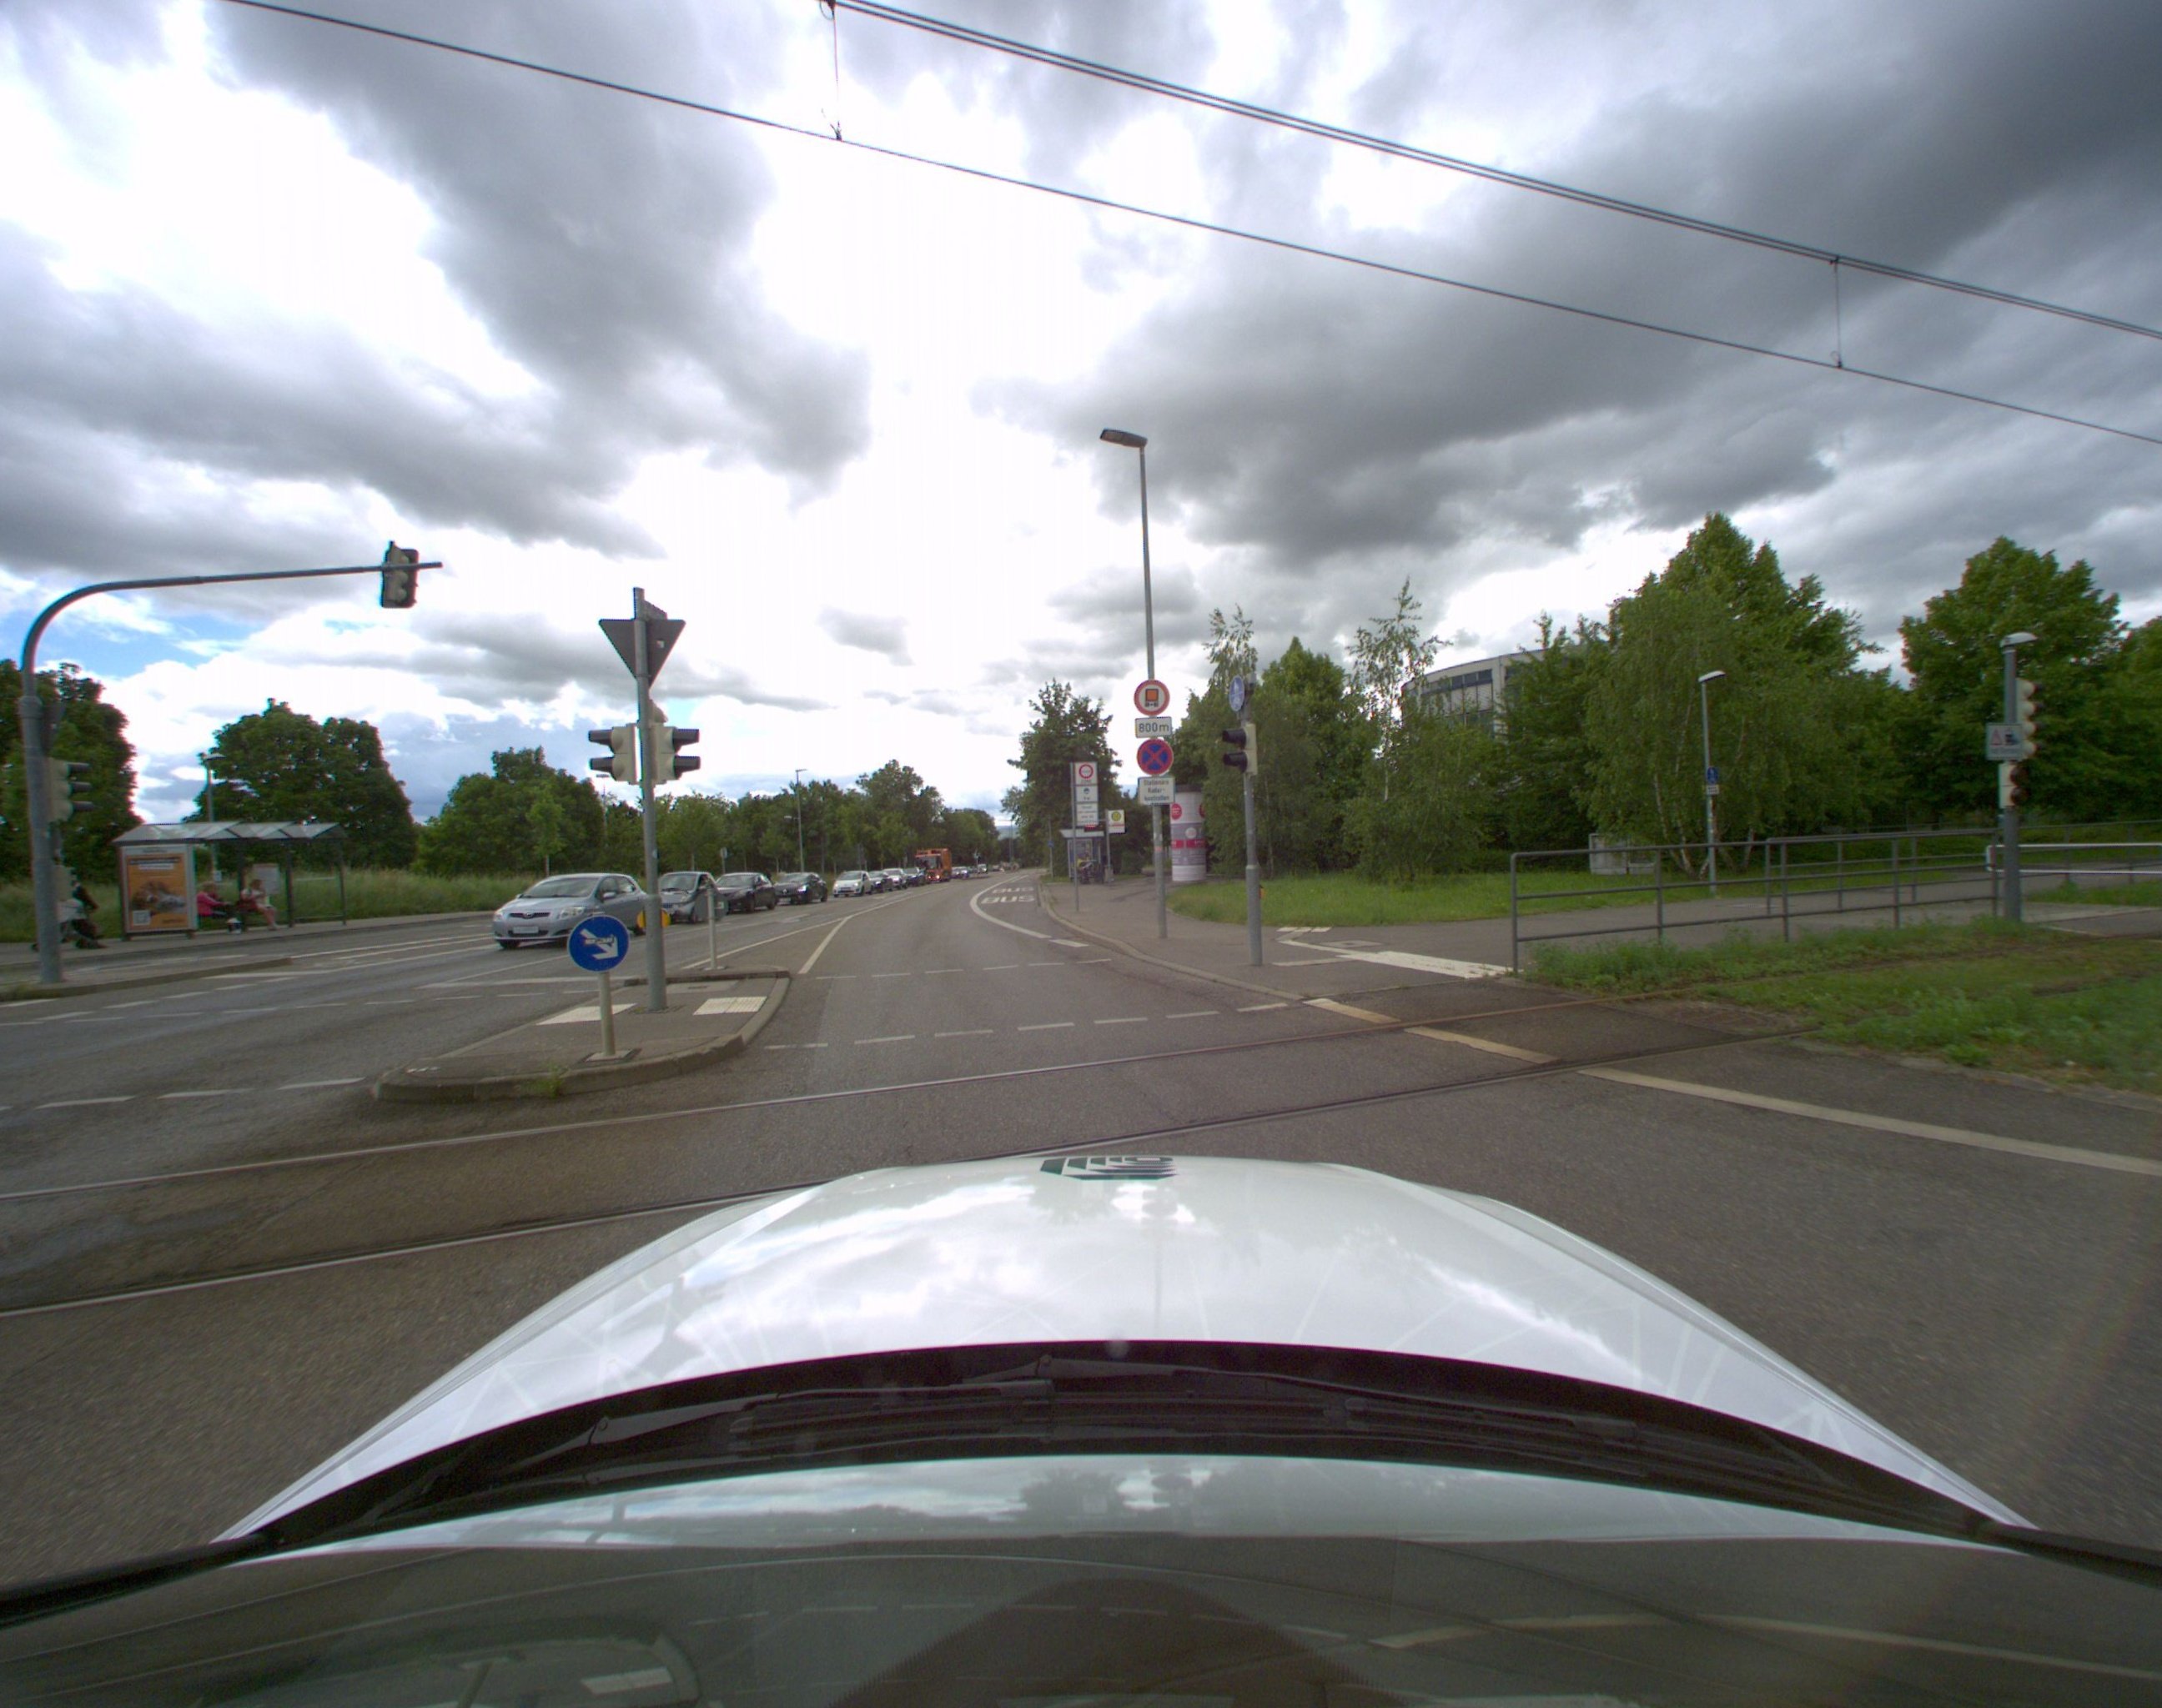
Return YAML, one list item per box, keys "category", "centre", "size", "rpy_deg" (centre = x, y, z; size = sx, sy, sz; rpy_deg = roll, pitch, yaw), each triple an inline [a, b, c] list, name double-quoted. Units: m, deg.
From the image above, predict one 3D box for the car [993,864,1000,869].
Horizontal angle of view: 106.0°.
- category: "car"
  centre: [-24.336, 3.692, 233.844]
  size: [1.768, 1.304, 3.996]
  rpy_deg: [-3, 0, -3]

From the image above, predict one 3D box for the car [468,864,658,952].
- category: "car"
  centre: [-11.222, 1.081, 18.041]
  size: [1.825, 1.535, 4.210]
  rpy_deg: [-3, 1, -7]

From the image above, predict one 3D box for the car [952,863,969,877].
- category: "car"
  centre: [-16.023, 2.102, 108.497]
  size: [1.843, 1.520, 4.809]
  rpy_deg: [-5, 0, -4]

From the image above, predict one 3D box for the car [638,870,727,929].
- category: "car"
  centre: [-11.897, 1.304, 24.465]
  size: [1.426, 1.526, 2.770]
  rpy_deg: [-3, 1, -5]

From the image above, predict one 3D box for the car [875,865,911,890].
- category: "car"
  centre: [-13.772, 1.686, 59.863]
  size: [1.726, 1.585, 4.219]
  rpy_deg: [-3, 1, -3]

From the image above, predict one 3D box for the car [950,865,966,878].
- category: "car"
  centre: [-15.147, 2.115, 100.406]
  size: [1.544, 1.331, 3.649]
  rpy_deg: [-5, 0, -3]

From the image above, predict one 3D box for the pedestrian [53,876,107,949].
- category: "pedestrian"
  centre: [-23.827, 1.372, 19.392]
  size: [0.544, 1.669, 0.642]
  rpy_deg: [-2, 1, 24]

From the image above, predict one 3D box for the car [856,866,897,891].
- category: "car"
  centre: [-13.271, 1.555, 53.129]
  size: [1.636, 1.390, 4.880]
  rpy_deg: [-3, 1, -3]

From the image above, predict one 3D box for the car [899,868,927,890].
- category: "car"
  centre: [-13.906, 2.050, 67.554]
  size: [1.636, 1.585, 4.056]
  rpy_deg: [-3, 1, -3]

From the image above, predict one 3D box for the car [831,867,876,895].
- category: "car"
  centre: [-13.109, 1.542, 47.180]
  size: [1.636, 1.390, 3.758]
  rpy_deg: [-3, 1, -3]

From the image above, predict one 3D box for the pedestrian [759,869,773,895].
- category: "pedestrian"
  centre: [-23.140, 2.028, 59.871]
  size: [0.719, 1.835, 0.677]
  rpy_deg: [-3, 0, -3]

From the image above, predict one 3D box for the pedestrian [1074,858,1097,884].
- category: "pedestrian"
  centre: [0.240, 0.854, 40.516]
  size: [0.780, 1.252, 0.763]
  rpy_deg: [-3, 1, -45]

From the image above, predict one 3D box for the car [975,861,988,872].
- category: "car"
  centre: [-18.227, 2.344, 149.580]
  size: [1.843, 1.803, 4.644]
  rpy_deg: [-5, 0, -4]

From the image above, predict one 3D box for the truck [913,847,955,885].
- category: "truck"
  centre: [-14.749, 1.059, 82.372]
  size: [2.699, 3.486, 9.986]
  rpy_deg: [-3, 1, -2]

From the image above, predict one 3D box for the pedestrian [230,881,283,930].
- category: "pedestrian"
  centre: [-21.988, 1.360, 21.738]
  size: [0.772, 1.227, 0.548]
  rpy_deg: [-2, 1, -12]

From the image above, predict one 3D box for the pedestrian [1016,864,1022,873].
- category: "pedestrian"
  centre: [-10.256, 2.424, 134.542]
  size: [0.792, 1.463, 0.743]
  rpy_deg: [-3, 0, -22]

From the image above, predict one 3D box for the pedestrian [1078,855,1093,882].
- category: "pedestrian"
  centre: [0.232, 0.743, 41.891]
  size: [0.726, 1.316, 0.589]
  rpy_deg: [-2, 0, -1]

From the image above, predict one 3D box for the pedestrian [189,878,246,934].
- category: "pedestrian"
  centre: [-21.830, 1.298, 20.596]
  size: [0.772, 1.330, 0.548]
  rpy_deg: [-2, 1, -12]

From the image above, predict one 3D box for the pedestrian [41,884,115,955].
- category: "pedestrian"
  centre: [-20.595, 1.328, 16.739]
  size: [0.549, 1.363, 0.771]
  rpy_deg: [-2, 1, -11]

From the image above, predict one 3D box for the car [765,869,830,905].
- category: "car"
  centre: [-12.664, 1.424, 36.587]
  size: [1.636, 1.332, 4.056]
  rpy_deg: [-3, 1, -3]

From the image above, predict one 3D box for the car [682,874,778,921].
- category: "car"
  centre: [-12.633, 1.514, 29.606]
  size: [1.796, 1.332, 4.373]
  rpy_deg: [-3, 1, -4]
